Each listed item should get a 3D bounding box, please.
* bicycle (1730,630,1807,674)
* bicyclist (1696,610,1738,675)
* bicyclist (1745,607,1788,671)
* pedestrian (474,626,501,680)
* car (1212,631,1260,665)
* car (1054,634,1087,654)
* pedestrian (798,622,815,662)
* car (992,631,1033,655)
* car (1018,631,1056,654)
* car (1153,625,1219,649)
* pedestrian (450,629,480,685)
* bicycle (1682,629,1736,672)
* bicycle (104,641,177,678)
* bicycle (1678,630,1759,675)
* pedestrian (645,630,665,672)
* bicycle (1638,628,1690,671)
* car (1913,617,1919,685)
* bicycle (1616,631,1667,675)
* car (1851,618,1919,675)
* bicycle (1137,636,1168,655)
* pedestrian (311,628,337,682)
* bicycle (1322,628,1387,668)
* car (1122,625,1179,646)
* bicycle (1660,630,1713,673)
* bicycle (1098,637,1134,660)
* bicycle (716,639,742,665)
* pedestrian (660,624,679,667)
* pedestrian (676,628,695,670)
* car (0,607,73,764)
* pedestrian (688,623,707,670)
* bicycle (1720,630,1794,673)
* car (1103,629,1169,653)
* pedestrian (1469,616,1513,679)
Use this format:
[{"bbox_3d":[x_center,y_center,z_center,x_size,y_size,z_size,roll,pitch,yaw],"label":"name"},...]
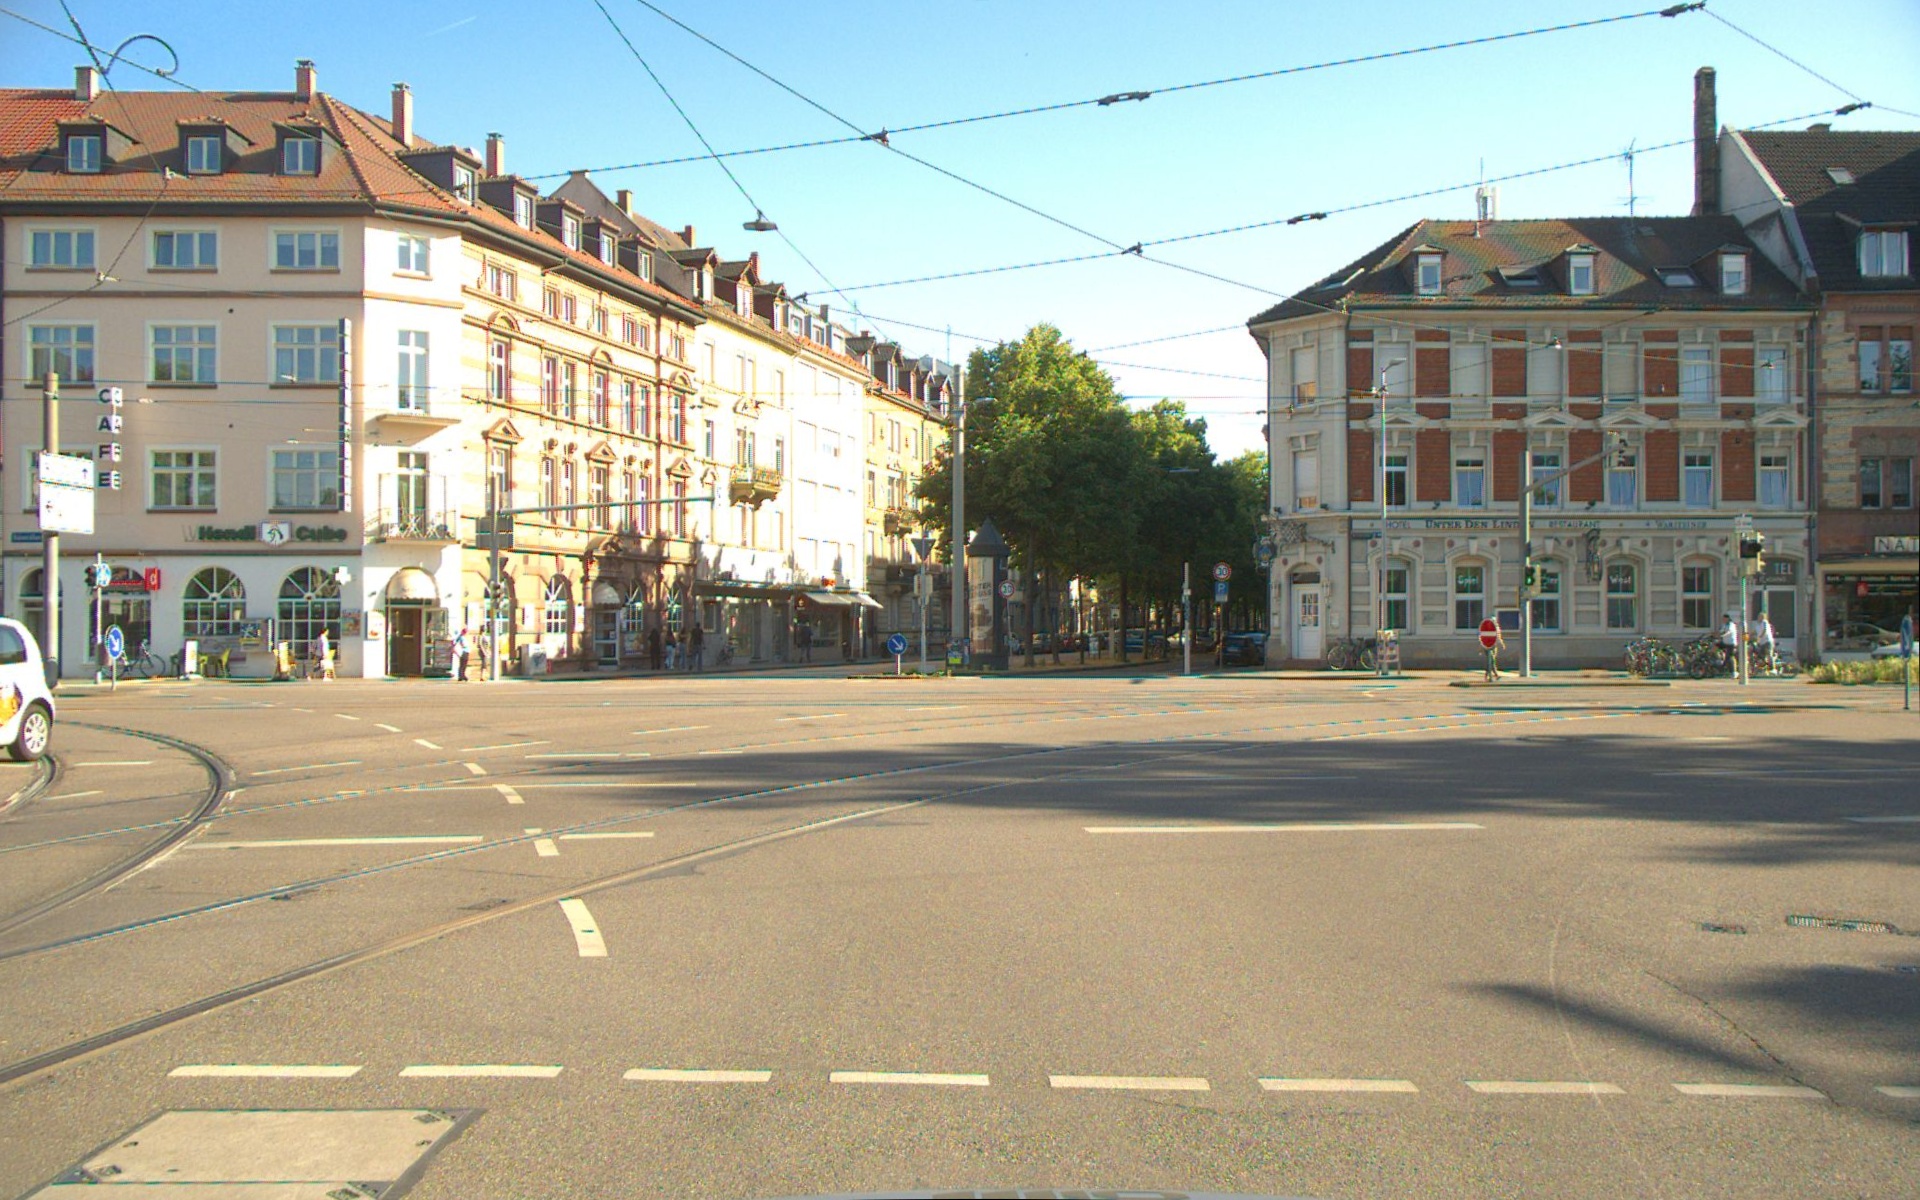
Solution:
[{"bbox_3d":[22.822,1.456,46.693,1.922,1.211,0.601,0,-1,-5],"label":"bicycle"},{"bbox_3d":[20.950,1.167,45.772,0.854,1.795,0.601,-1,-1,2],"label":"bicyclist"},{"bbox_3d":[22.776,1.096,46.691,0.885,1.795,0.601,0,-1,-4],"label":"bicyclist"},{"bbox_3d":[-14.704,1.638,51.454,0.617,1.670,0.553,-1,-1,12],"label":"pedestrian"},{"bbox_3d":[12.895,2.217,77.091,1.951,1.523,4.037,-1,-1,13],"label":"car"},{"bbox_3d":[8.766,3.450,131.109,1.951,1.523,4.037,-1,-1,13],"label":"car"},{"bbox_3d":[-7.474,2.046,80.524,0.667,1.942,0.633,-1,-1,15],"label":"pedestrian"},{"bbox_3d":[3.429,2.777,107.365,1.951,1.523,4.037,-1,-1,13],"label":"car"},{"bbox_3d":[5.490,2.979,117.123,1.951,1.523,4.037,-1,-1,13],"label":"car"},{"bbox_3d":[15.196,2.464,111.279,3.912,1.572,1.996,-1,-1,30],"label":"car"},{"bbox_3d":[-14.951,1.717,49.986,0.661,1.670,0.579,-1,-1,12],"label":"pedestrian"},{"bbox_3d":[21.734,1.445,48.035,0.663,1.211,1.967,-1,-1,0],"label":"bicycle"},{"bbox_3d":[-24.983,1.821,50.448,1.907,1.086,0.582,0,-1,-8],"label":"bicycle"},{"bbox_3d":[20.982,1.445,45.771,1.920,1.211,0.601,-1,-1,1],"label":"bicycle"},{"bbox_3d":[-12.106,2.031,65.701,0.613,1.670,0.538,-1,-1,13],"label":"pedestrian"},{"bbox_3d":[20.433,1.420,48.018,0.663,1.211,1.967,-1,-1,0],"label":"bicycle"},{"bbox_3d":[25.851,1.242,40.501,3.906,1.697,1.954,-1,-1,-2],"label":"car"},{"bbox_3d":[19.745,1.525,47.977,0.663,1.211,1.967,-1,-1,0],"label":"bicycle"},{"bbox_3d":[25.893,1.194,43.498,3.906,1.437,1.845,-1,-1,-2],"label":"car"},{"bbox_3d":[10.933,2.570,93.884,0.577,1.086,1.924,0,-1,-37],"label":"bicycle"},{"bbox_3d":[-18.790,1.615,48.849,0.647,1.551,0.692,0,-1,-16],"label":"pedestrian"},{"bbox_3d":[12.358,1.507,51.856,1.919,1.211,0.546,-1,-1,4],"label":"bicycle"},{"bbox_3d":[14.885,2.772,129.273,3.910,1.572,1.998,-1,-1,27],"label":"car"},{"bbox_3d":[21.072,1.488,48.029,0.663,1.211,1.967,-1,-1,0],"label":"bicycle"},{"bbox_3d":[7.288,2.259,77.328,0.577,1.086,1.924,0,-1,-37],"label":"bicycle"},{"bbox_3d":[-10.300,2.310,73.796,0.484,1.086,1.771,-1,-1,15],"label":"bicycle"},{"bbox_3d":[-11.529,1.801,65.653,0.539,1.670,0.538,-1,-1,12],"label":"pedestrian"},{"bbox_3d":[-10.927,1.948,65.741,0.539,1.670,0.633,-1,-1,12],"label":"pedestrian"},{"bbox_3d":[-10.144,0.831,15.543,1.682,1.523,3.583,-1,-1,0],"label":"car"},{"bbox_3d":[-10.552,1.857,66.470,0.567,1.868,0.633,-1,-1,15],"label":"pedestrian"},{"bbox_3d":[22.957,1.484,47.659,1.927,1.211,0.677,0,-1,-13],"label":"bicycle"},{"bbox_3d":[11.749,2.737,110.312,3.910,1.572,1.998,-1,-1,27],"label":"car"},{"bbox_3d":[14.410,1.281,44.873,0.705,1.699,0.933,0,-1,-21],"label":"pedestrian"}]
